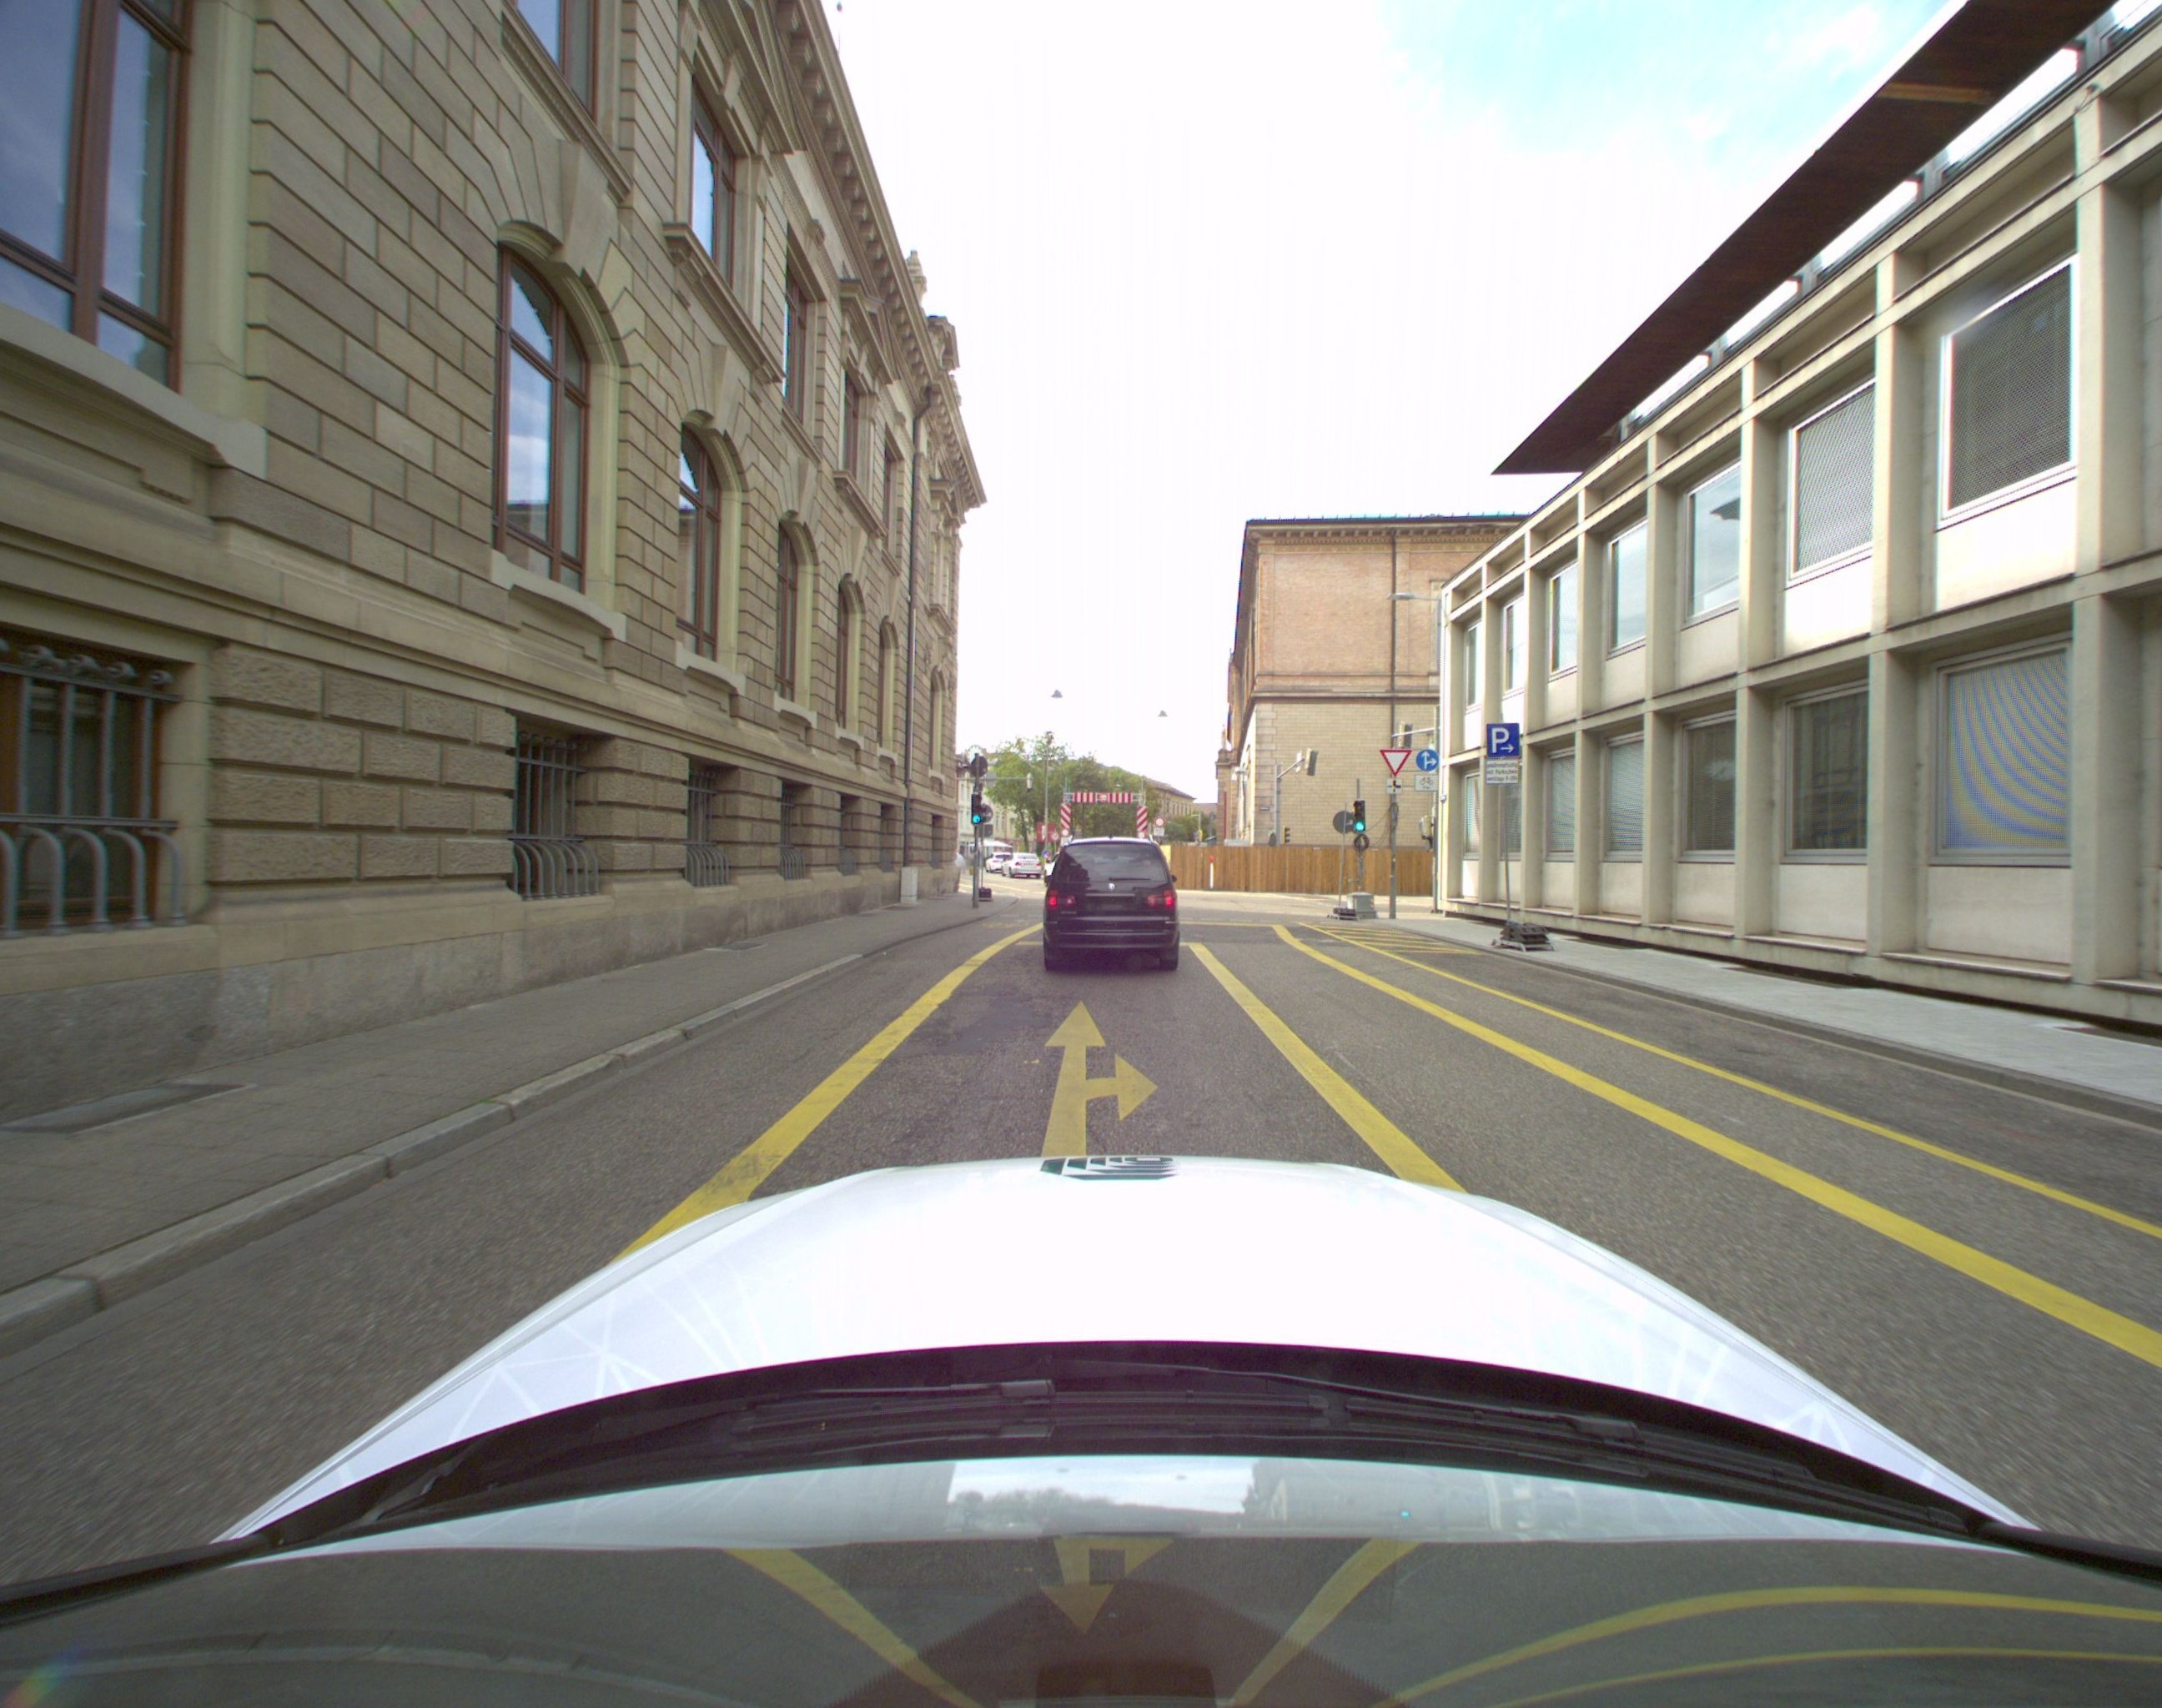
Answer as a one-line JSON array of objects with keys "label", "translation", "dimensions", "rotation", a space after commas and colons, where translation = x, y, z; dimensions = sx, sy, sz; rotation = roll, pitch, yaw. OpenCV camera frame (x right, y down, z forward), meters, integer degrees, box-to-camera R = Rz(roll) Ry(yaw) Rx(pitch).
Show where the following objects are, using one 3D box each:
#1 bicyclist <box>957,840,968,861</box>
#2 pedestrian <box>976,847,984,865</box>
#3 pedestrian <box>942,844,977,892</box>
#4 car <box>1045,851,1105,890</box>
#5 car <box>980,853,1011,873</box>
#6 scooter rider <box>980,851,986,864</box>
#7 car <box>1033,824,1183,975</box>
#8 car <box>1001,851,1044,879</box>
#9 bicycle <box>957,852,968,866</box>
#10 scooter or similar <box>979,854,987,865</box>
[{"label": "bicyclist", "translation": [-11.029, -0.290, 75.985], "dimensions": [0.925, 1.963, 1.103], "rotation": [1, -1, -7]}, {"label": "pedestrian", "translation": [-11.877, 0.246, 95.694], "dimensions": [0.580, 2.014, 0.689], "rotation": [0, -1, 18]}, {"label": "pedestrian", "translation": [-4.807, 0.554, 32.143], "dimensions": [1.034, 1.819, 0.799], "rotation": [2, -1, 37]}, {"label": "car", "translation": [-0.319, 0.701, 35.055], "dimensions": [1.775, 1.586, 3.982], "rotation": [1, -1, -13]}, {"label": "car", "translation": [-5.874, 0.591, 55.775], "dimensions": [1.651, 1.321, 3.659], "rotation": [1, -1, -13]}, {"label": "scooter rider", "translation": [-10.977, 0.369, 91.183], "dimensions": [0.596, 1.490, 0.680], "rotation": [0, -1, 6]}, {"label": "car", "translation": [0.456, 0.567, 11.898], "dimensions": [1.782, 1.790, 4.107], "rotation": [1, 0, 4]}, {"label": "car", "translation": [-3.414, 0.617, 46.707], "dimensions": [1.707, 1.501, 3.978], "rotation": [1, -1, -16]}, {"label": "bicycle", "translation": [-11.030, 0.492, 75.987], "dimensions": [0.925, 1.255, 2.535], "rotation": [1, -1, -7]}, {"label": "scooter or similar", "translation": [-10.991, 0.650, 91.146], "dimensions": [0.596, 1.255, 1.555], "rotation": [0, -1, 6]}]
